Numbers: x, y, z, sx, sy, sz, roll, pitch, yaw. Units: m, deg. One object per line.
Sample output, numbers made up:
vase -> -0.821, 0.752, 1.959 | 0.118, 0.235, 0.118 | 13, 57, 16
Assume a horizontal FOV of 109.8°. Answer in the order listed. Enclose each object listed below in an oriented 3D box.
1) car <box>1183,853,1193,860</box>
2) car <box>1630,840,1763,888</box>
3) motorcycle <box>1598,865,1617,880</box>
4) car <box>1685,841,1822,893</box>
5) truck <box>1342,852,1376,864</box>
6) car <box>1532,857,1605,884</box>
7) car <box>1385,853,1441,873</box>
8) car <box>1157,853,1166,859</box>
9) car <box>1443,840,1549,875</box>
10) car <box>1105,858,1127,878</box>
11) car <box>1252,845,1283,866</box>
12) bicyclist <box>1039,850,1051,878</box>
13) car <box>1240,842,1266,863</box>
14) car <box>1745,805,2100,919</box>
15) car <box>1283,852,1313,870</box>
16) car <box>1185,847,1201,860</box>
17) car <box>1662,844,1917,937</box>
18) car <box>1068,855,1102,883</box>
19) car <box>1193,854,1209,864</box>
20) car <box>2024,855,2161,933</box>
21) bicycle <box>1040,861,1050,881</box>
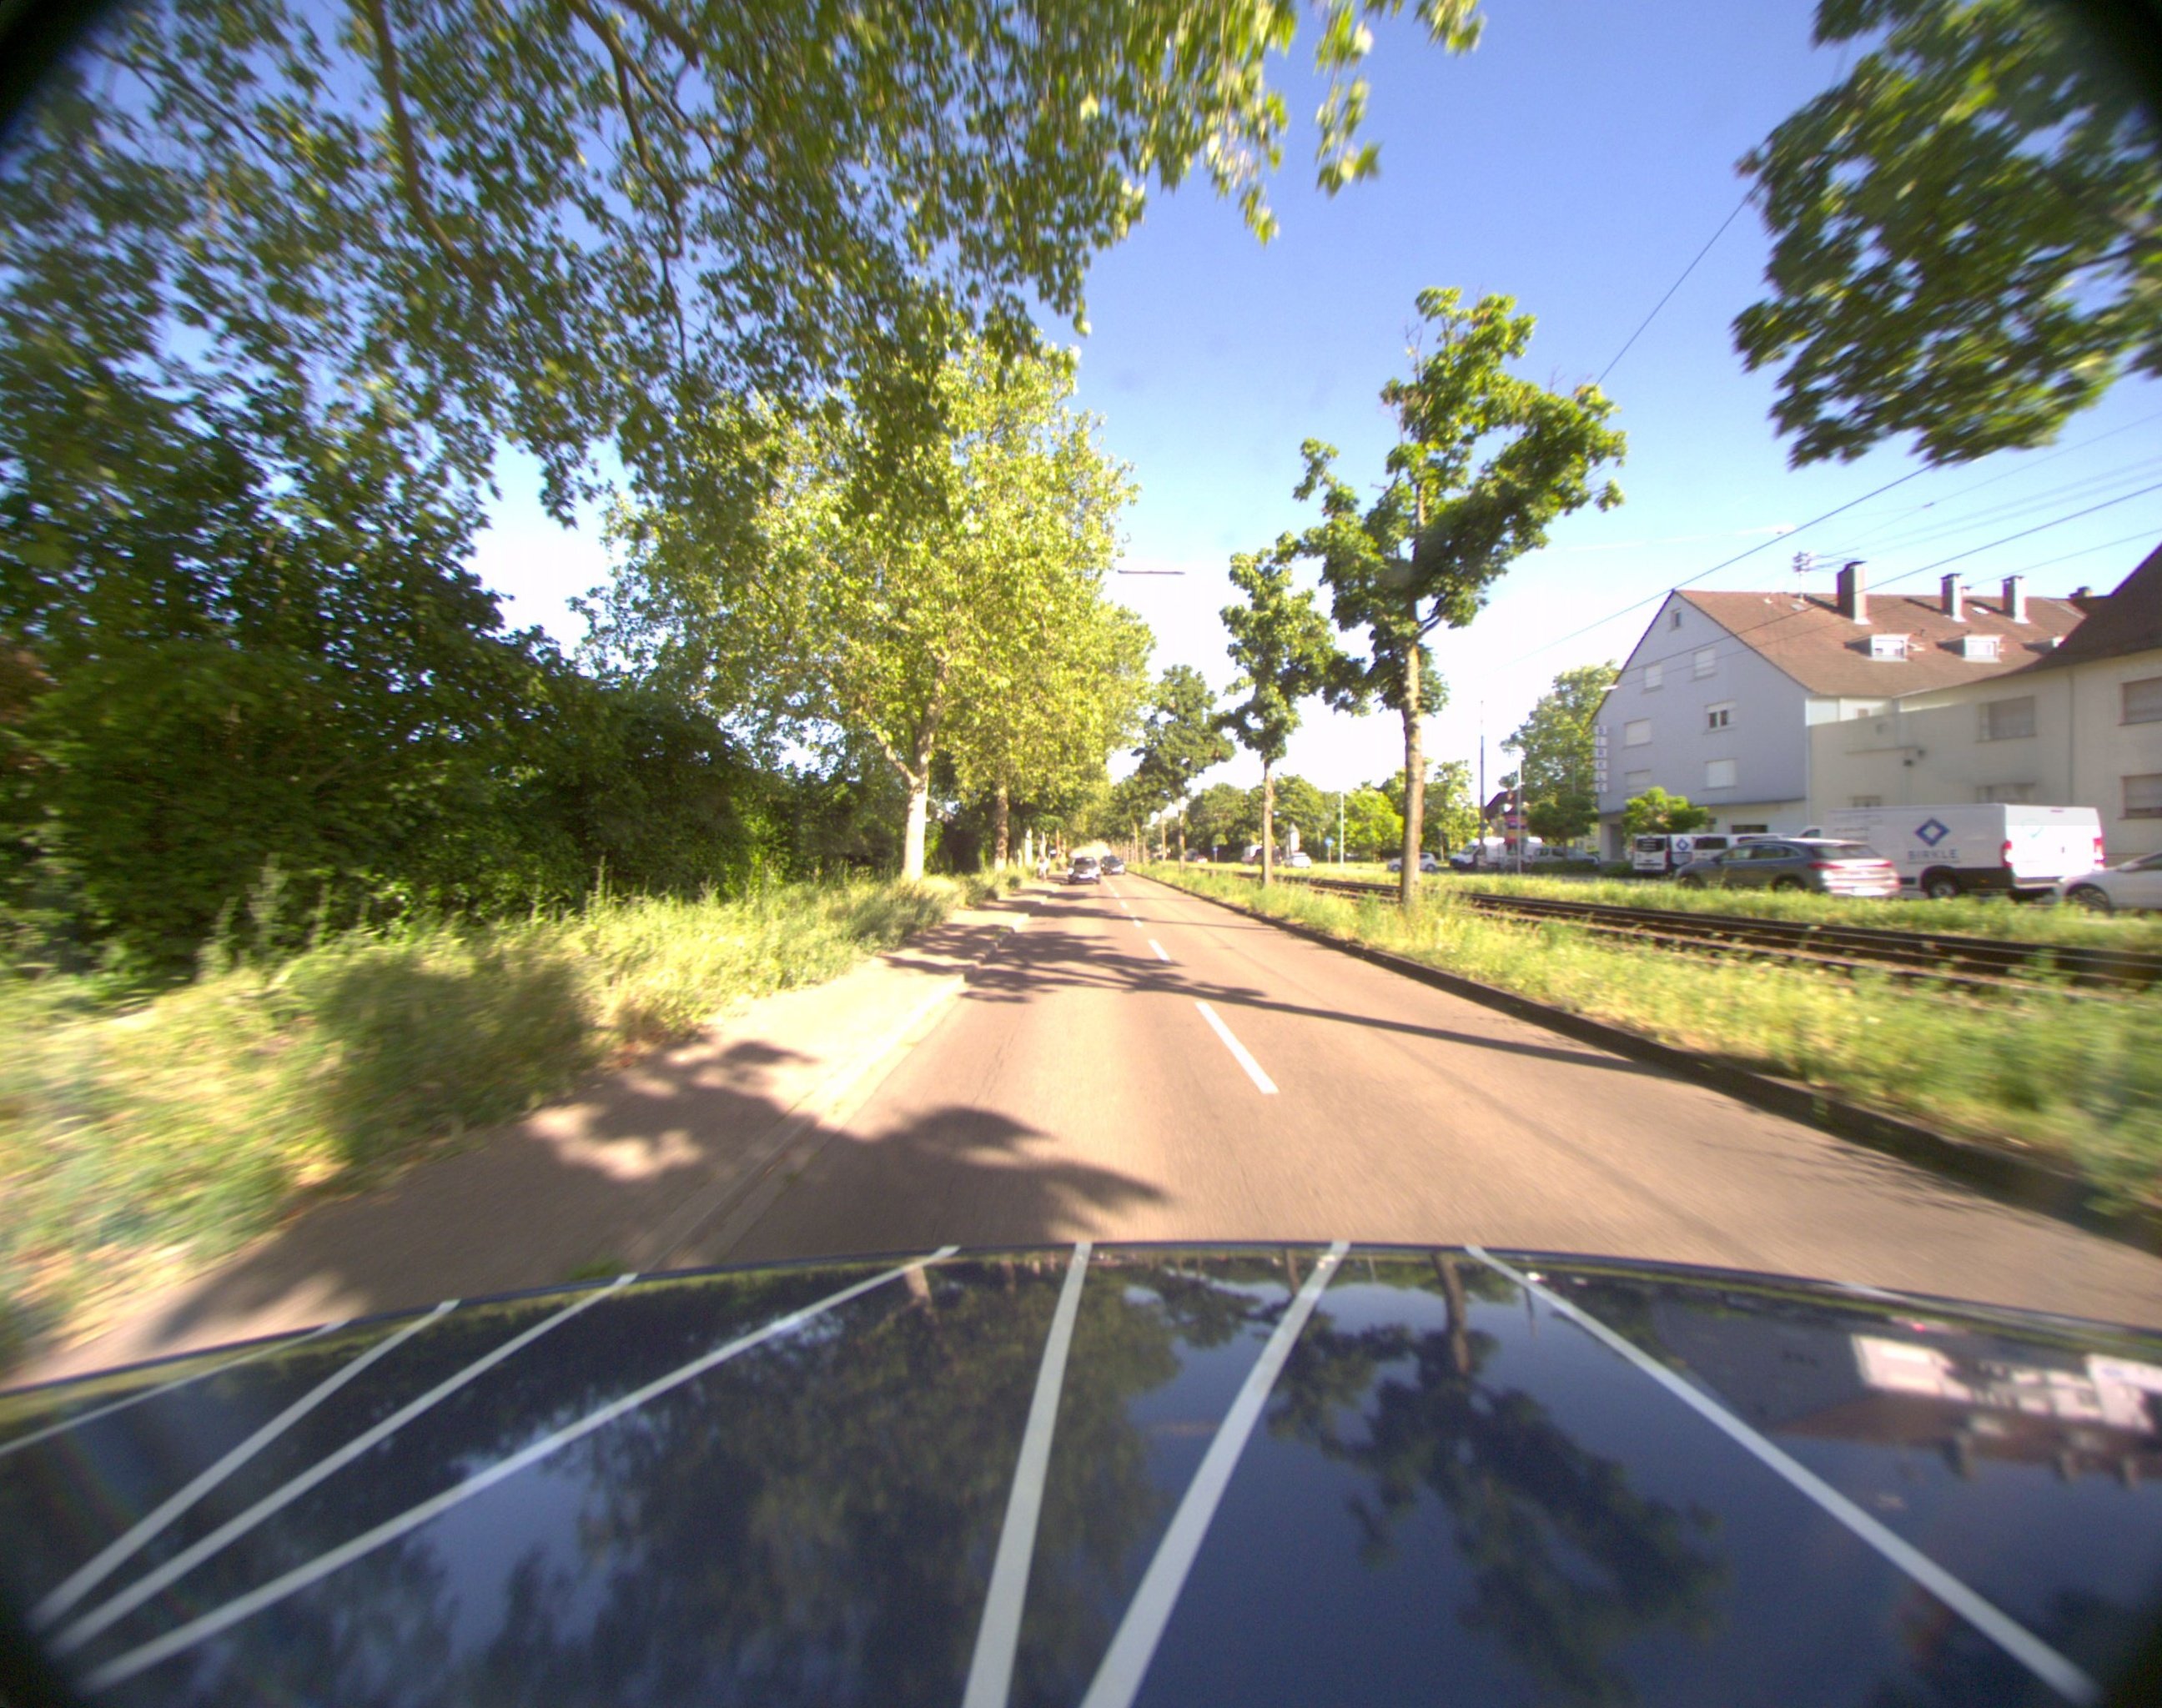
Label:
car -> 23.648, 0.505, 168.735 | 1.772, 1.554, 4.282 | -2, 1, 3
car -> 26.974, 0.415, 33.360 | 4.633, 1.934, 1.998 | -1, 0, -10
motorcycle -> 30.890, 1.105, 44.584 | 0.893, 0.847, 0.311 | -1, 1, -7
car -> 27.257, 0.496, 30.872 | 4.151, 1.941, 1.998 | -1, 0, -10
truck -> 45.063, 0.626, 123.007 | 4.946, 1.858, 2.080 | -2, 1, -19
car -> 32.108, 1.052, 50.164 | 1.801, 1.660, 4.097 | -2, 1, -8
car -> 25.195, 0.705, 57.744 | 3.619, 1.469, 1.752 | -1, 0, 14
car -> 19.663, 0.536, 185.284 | 1.998, 1.522, 3.751 | -1, 0, 2
car -> 32.519, 0.272, 59.626 | 7.086, 2.492, 2.330 | -2, 0, -4
car -> 2.901, 1.151, 62.801 | 1.714, 1.478, 3.547 | -2, 1, 2
car -> 22.301, 0.138, 91.247 | 2.188, 2.362, 6.464 | -2, 1, 1
bicyclist -> -2.097, 0.602, 44.558 | 0.615, 1.619, 0.909 | -1, 1, 1
car -> 22.470, -0.225, 99.458 | 2.007, 2.482, 6.136 | -2, 1, 0
car -> 21.495, 0.149, 20.115 | 1.998, 2.445, 6.674 | -2, 1, 0
car -> 22.266, 0.693, 78.126 | 1.827, 1.598, 4.773 | -2, 1, 1
car -> 23.040, -0.031, 156.739 | 2.231, 2.565, 6.799 | -2, 0, 1
car -> 16.515, 0.748, 18.116 | 1.920, 1.872, 4.523 | -2, 1, 2
car -> 0.209, 0.817, 43.422 | 1.808, 1.478, 3.546 | -2, 1, 0
car -> 17.866, 0.737, 113.128 | 1.680, 1.401, 4.000 | -1, 0, 1
car -> 21.506, 0.774, 14.262 | 1.829, 1.404, 4.657 | -2, 1, 0
bicycle -> -2.094, 0.979, 44.536 | 0.441, 1.146, 1.823 | -2, 1, 1
